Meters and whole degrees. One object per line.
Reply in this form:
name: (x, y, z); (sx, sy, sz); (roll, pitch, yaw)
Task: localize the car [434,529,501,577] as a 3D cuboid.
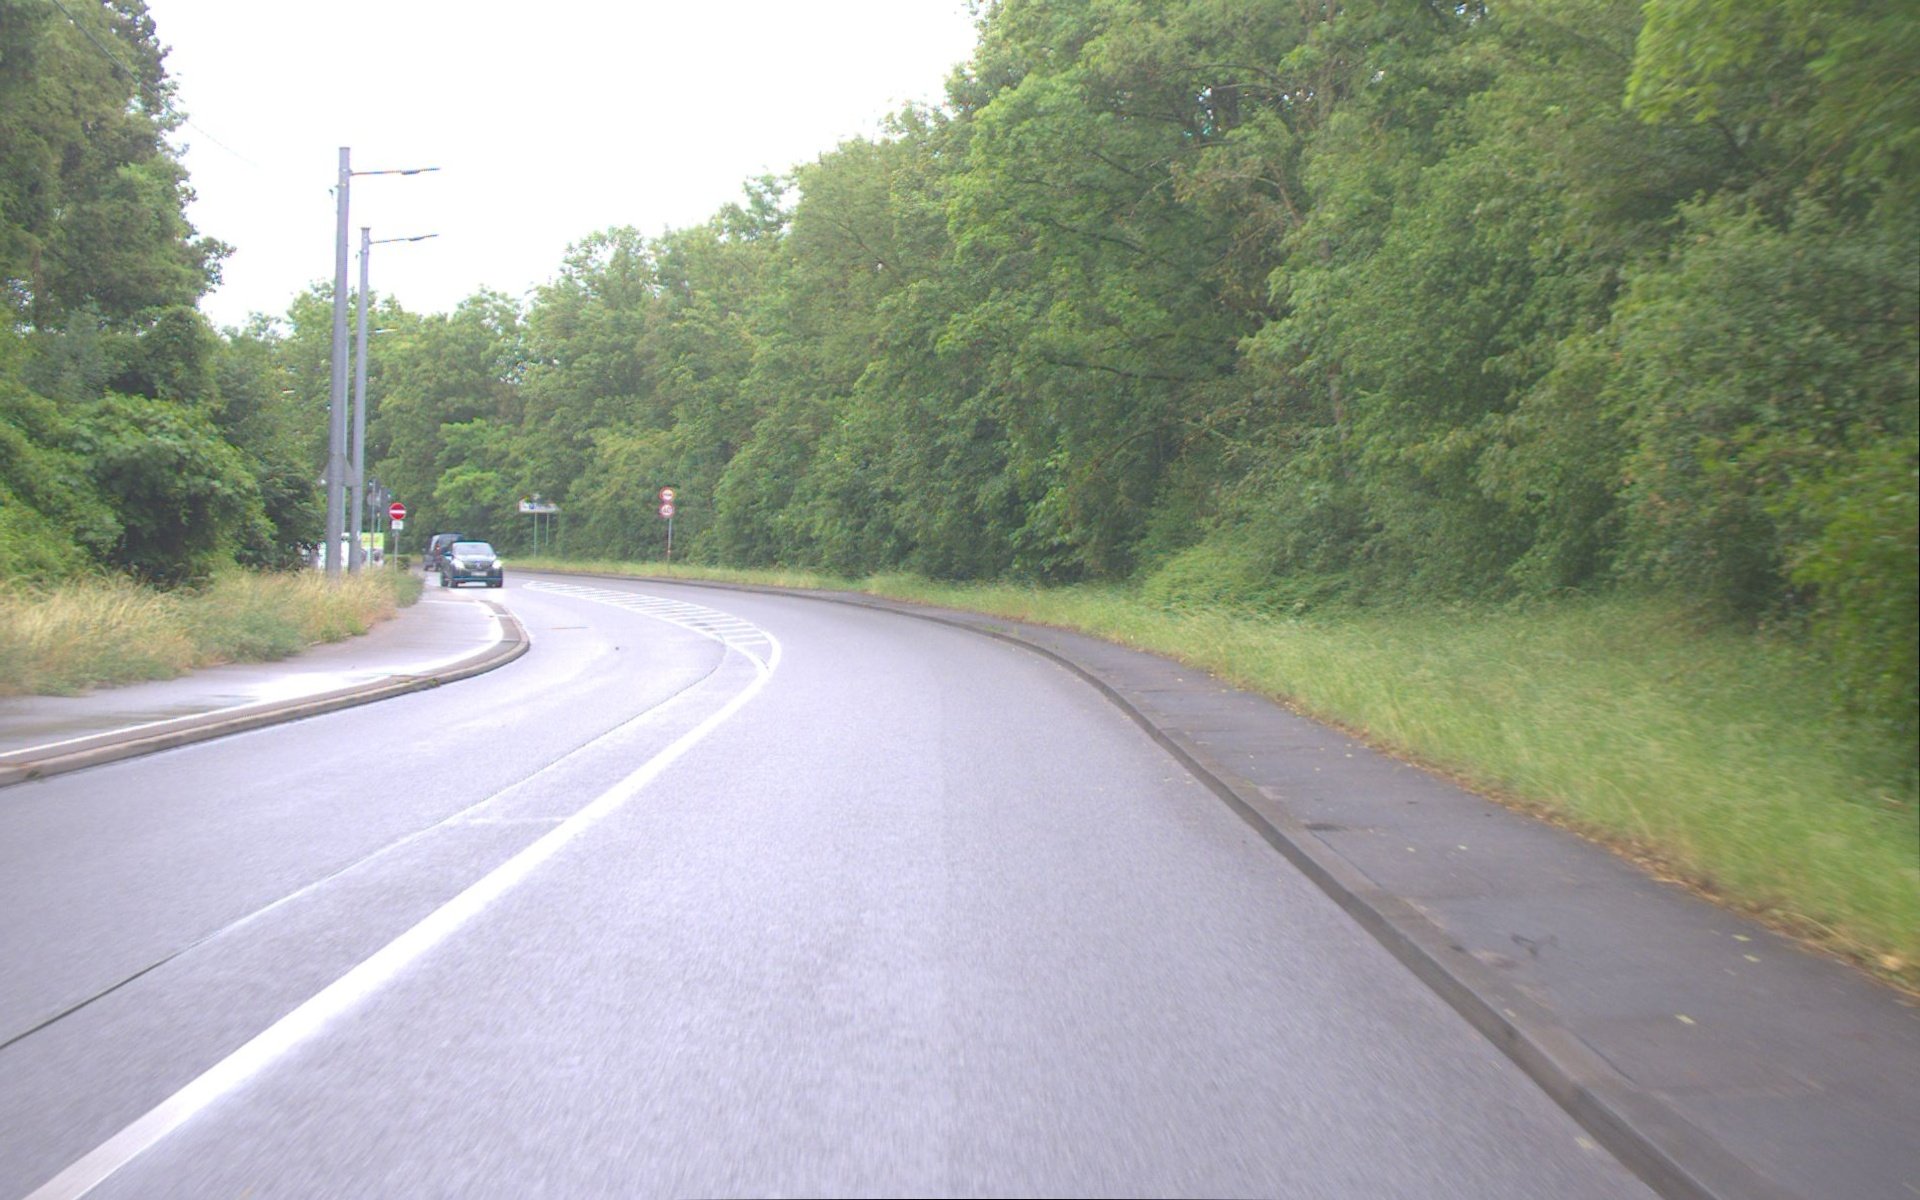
car: (-18.975, -1.810, 132.302); (1.993, 1.781, 4.709); (-1, 1, -15)
